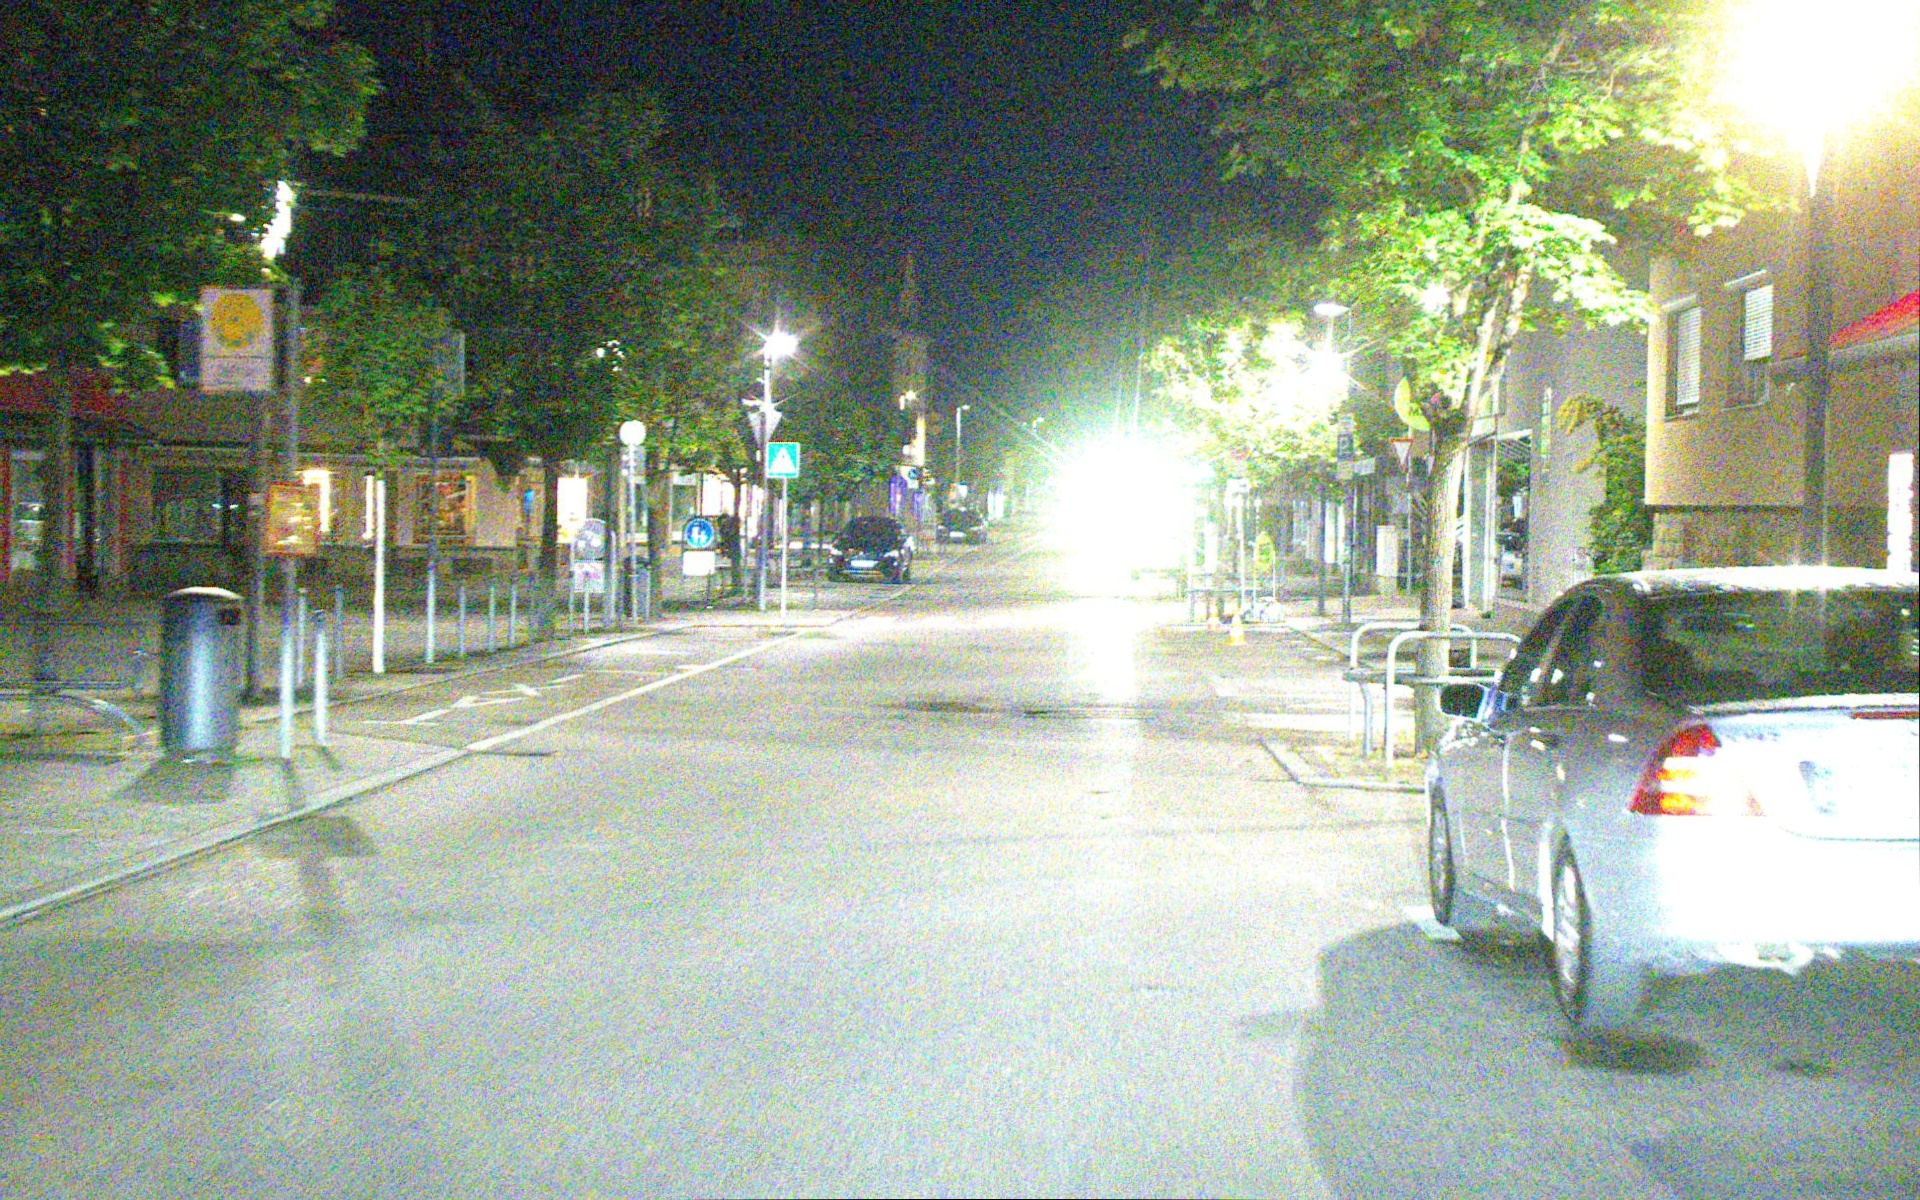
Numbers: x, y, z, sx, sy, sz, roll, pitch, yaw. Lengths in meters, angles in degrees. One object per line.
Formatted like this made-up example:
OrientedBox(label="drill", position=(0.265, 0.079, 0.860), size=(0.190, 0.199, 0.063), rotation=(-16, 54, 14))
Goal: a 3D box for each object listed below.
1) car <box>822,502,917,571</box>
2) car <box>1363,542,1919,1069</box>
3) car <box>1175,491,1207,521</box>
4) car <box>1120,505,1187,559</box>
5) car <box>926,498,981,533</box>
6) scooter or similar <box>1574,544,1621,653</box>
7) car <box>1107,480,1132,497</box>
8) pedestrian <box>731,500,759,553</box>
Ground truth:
OrientedBox(label="car", position=(-2.318, -1.681, 89.569), size=(2.018, 1.685, 5.003), rotation=(2, 2, 3))
OrientedBox(label="car", position=(2.648, 0.551, 11.970), size=(1.734, 1.436, 4.497), rotation=(1, 2, -3))
OrientedBox(label="car", position=(13.222, -5.386, 196.341), size=(1.775, 1.646, 4.364), rotation=(1, 2, 4))
OrientedBox(label="car", position=(5.310, -1.888, 94.730), size=(1.674, 1.454, 3.676), rotation=(1, 2, 1))
OrientedBox(label="car", position=(-0.256, -3.554, 143.577), size=(1.914, 1.366, 4.457), rotation=(1, 2, 4))
OrientedBox(label="scooter or similar", position=(7.580, -0.020, 40.908), size=(0.373, 1.272, 1.305), rotation=(1, 0, 3))
OrientedBox(label="car", position=(11.941, -8.315, 257.390), size=(1.723, 1.242, 4.237), rotation=(1, 2, 4))
OrientedBox(label="pedestrian", position=(-6.776, -2.316, 108.275), size=(0.769, 1.650, 0.817), rotation=(1, 3, 4))
